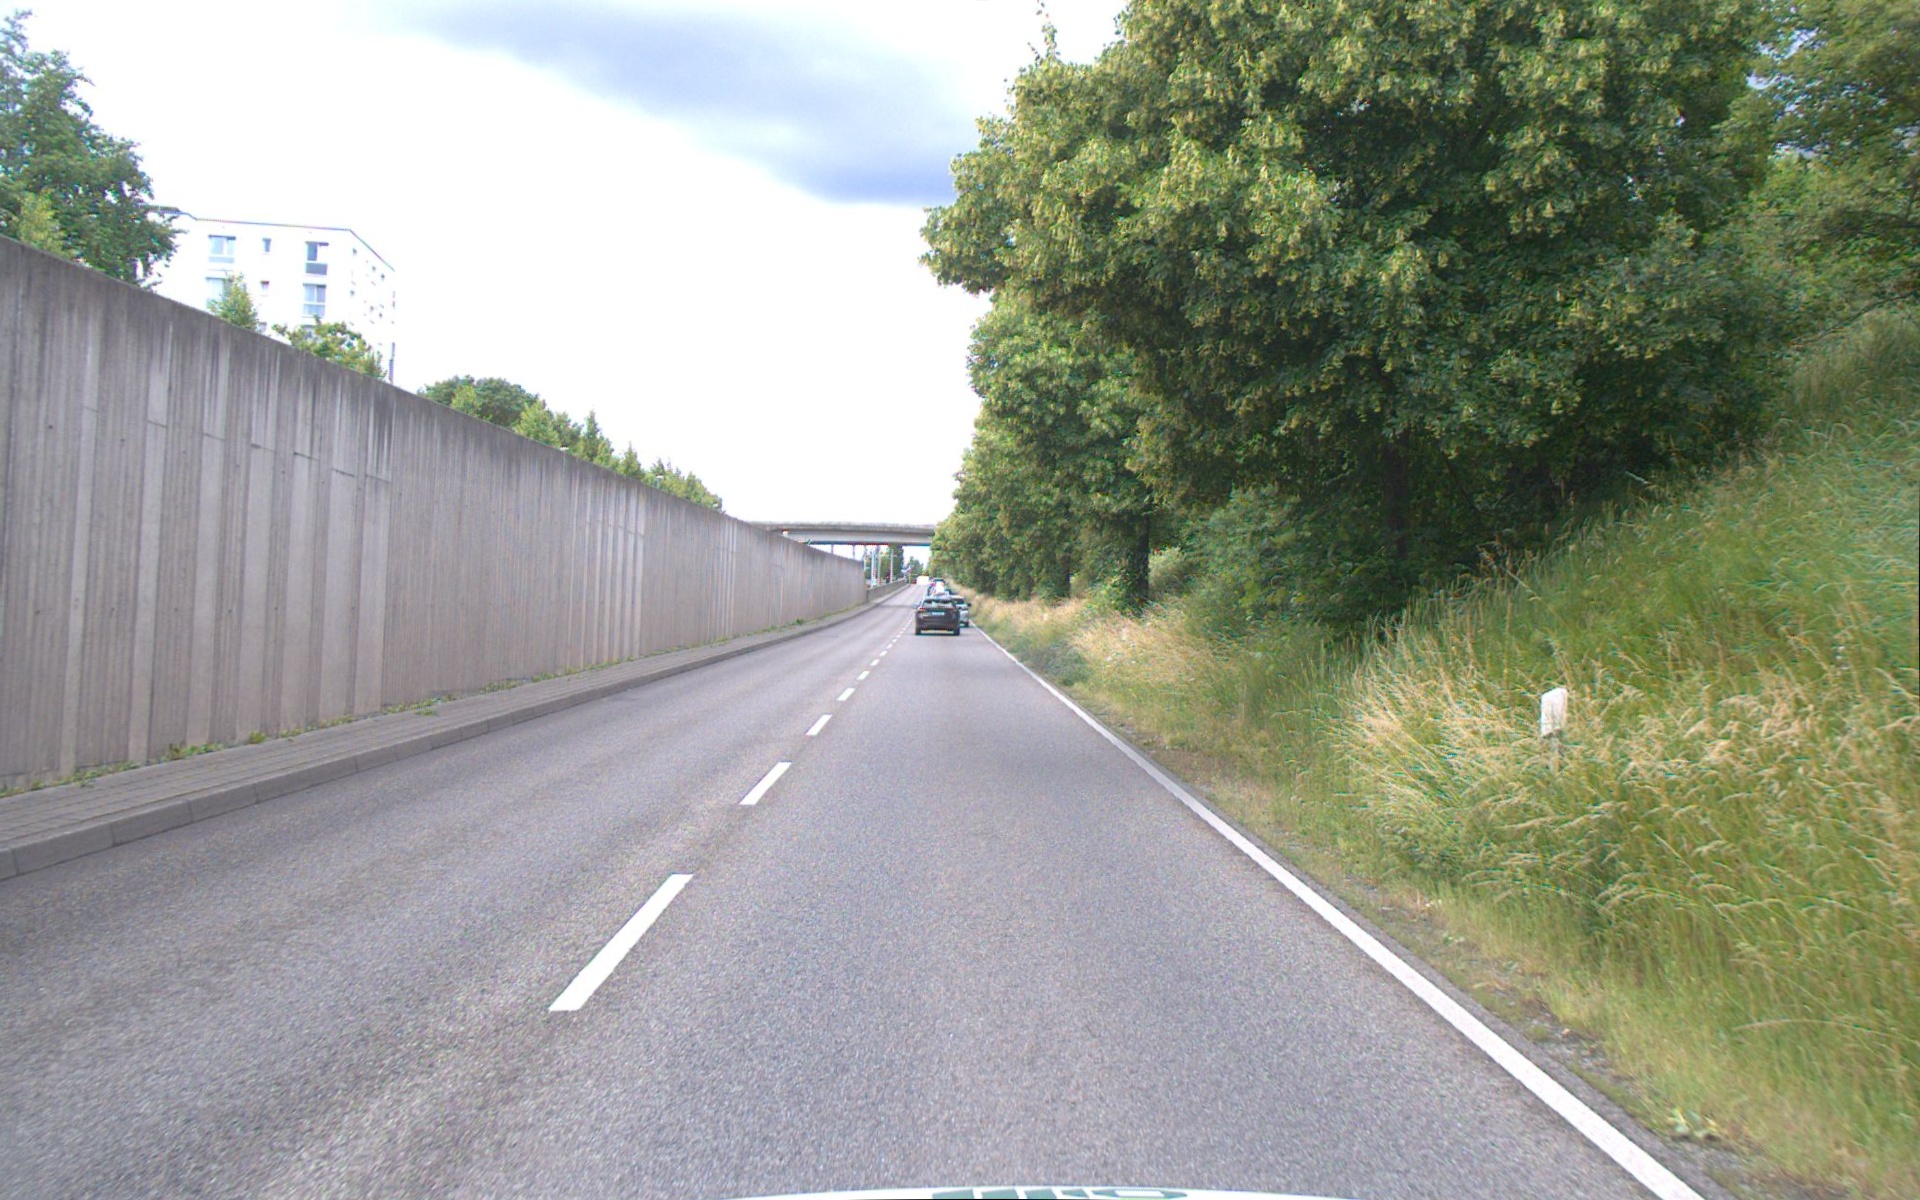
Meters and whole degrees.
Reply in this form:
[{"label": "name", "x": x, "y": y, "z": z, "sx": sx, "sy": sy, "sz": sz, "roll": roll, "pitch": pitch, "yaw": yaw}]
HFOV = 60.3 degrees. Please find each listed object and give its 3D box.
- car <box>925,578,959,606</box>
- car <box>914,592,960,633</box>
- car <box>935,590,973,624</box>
[{"label": "car", "x": -1.096, "y": -0.459, "z": 99.160, "sx": 1.829, "sy": 1.516, "sz": 4.255, "roll": 4, "pitch": 0, "yaw": -3}, {"label": "car", "x": -0.900, "y": 0.486, "z": 64.256, "sx": 1.719, "sy": 1.550, "sz": 4.035, "roll": 0, "pitch": 0, "yaw": -1}, {"label": "car", "x": -0.320, "y": 0.347, "z": 79.362, "sx": 1.719, "sy": 1.550, "sz": 4.035, "roll": -1, "pitch": -1, "yaw": -2}]
